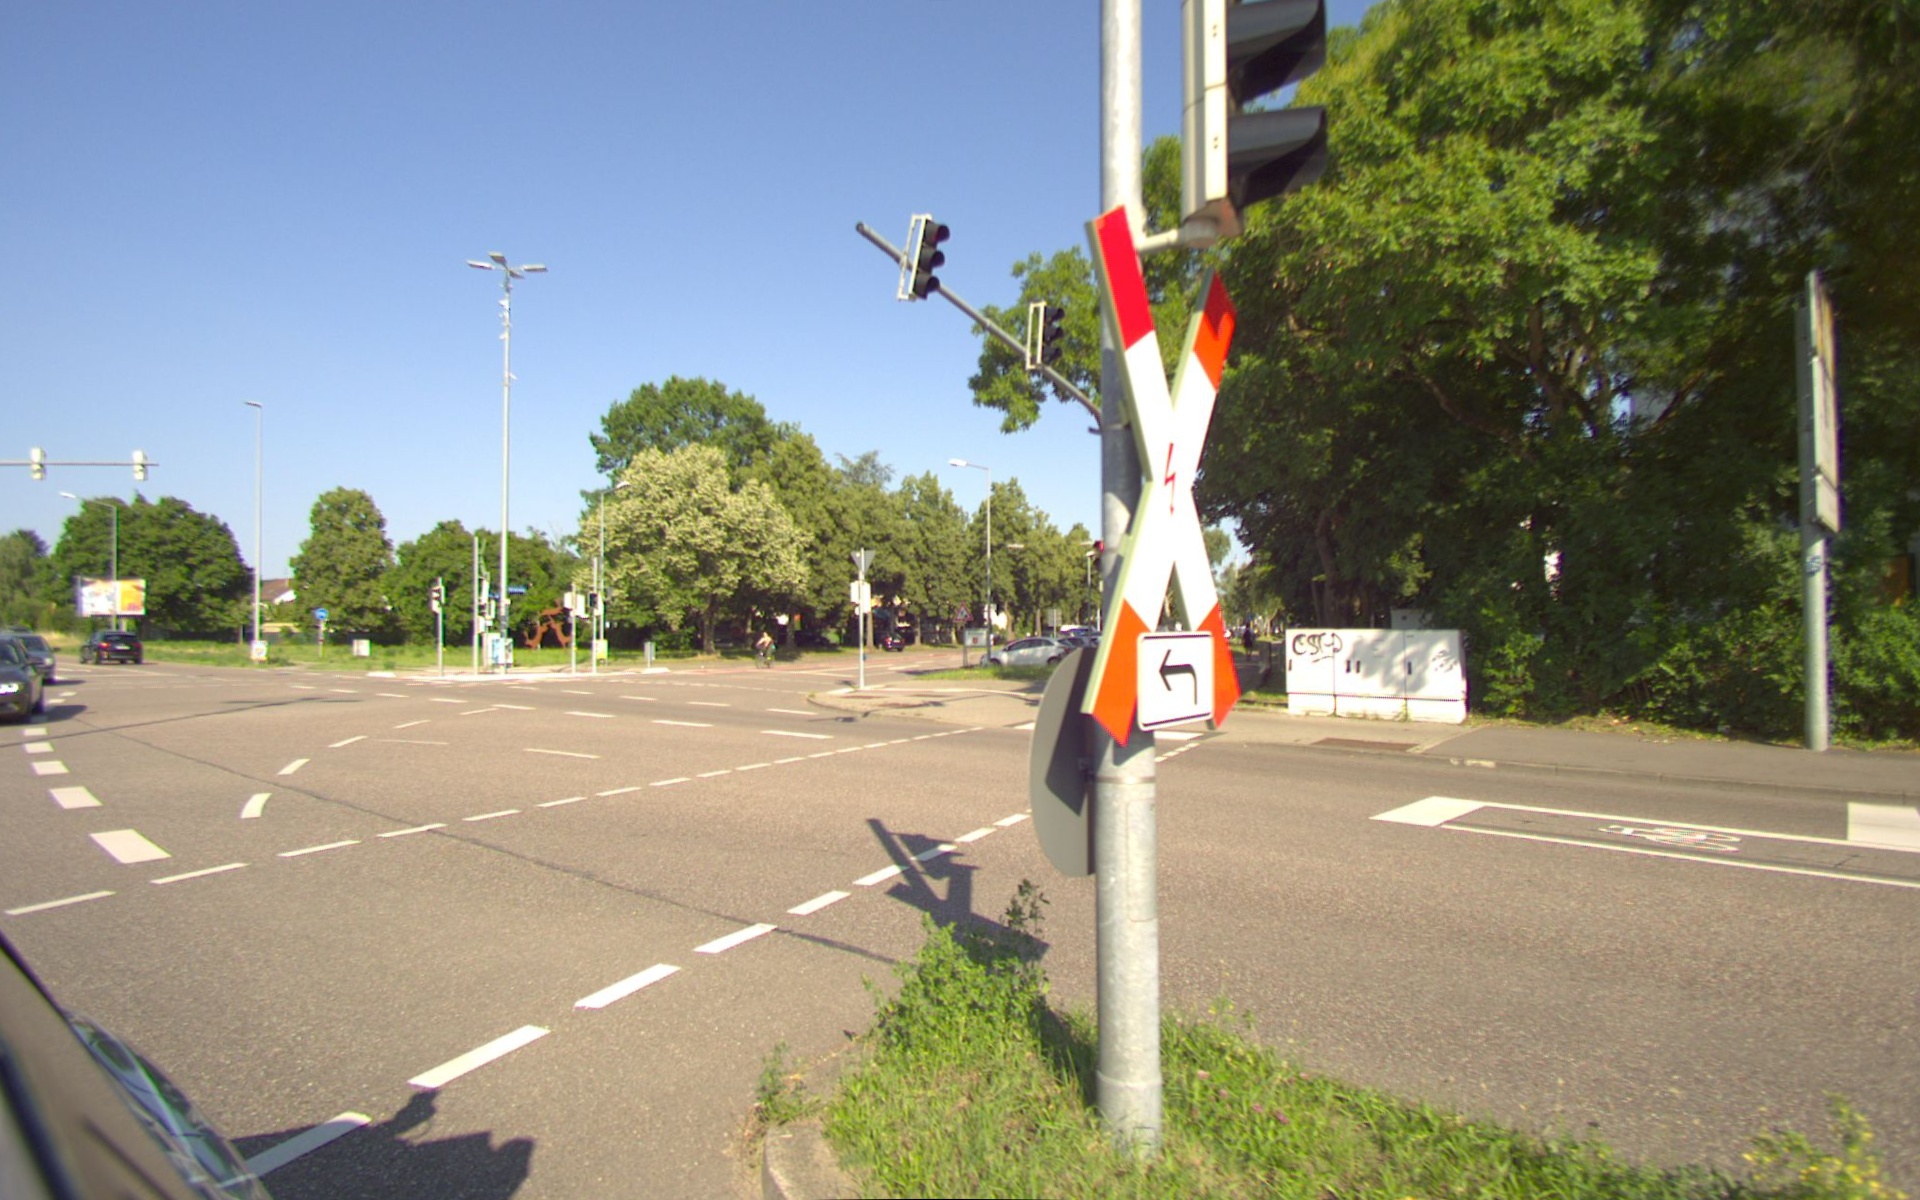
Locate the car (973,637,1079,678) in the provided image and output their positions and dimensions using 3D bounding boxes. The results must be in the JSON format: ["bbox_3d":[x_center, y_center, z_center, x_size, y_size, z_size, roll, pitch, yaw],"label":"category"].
[{"bbox_3d":[2.755,2.393,42.073,3.974,1.450,1.771,-5,-4,23],"label":"car"}]

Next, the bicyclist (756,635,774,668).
[{"bbox_3d":[-9.294,2.451,48.225,0.612,1.535,0.624,-2,-2,14],"label":"bicyclist"}]

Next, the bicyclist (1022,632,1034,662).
[{"bbox_3d":[3.653,2.525,54.401,0.602,1.572,0.601,-1,-2,8],"label":"bicyclist"}]

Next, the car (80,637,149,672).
[{"bbox_3d":[-42.435,2.710,50.760,4.382,1.672,1.968,-2,-4,41],"label":"car"}]

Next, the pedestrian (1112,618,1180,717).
[{"bbox_3d":[3.454,1.232,18.798,0.806,1.765,0.932,1,-3,-45],"label":"pedestrian"}]

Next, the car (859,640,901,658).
[{"bbox_3d":[-6.304,3.795,79.114,1.499,1.330,4.785,1,-2,-28],"label":"car"}]

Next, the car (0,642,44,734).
[{"bbox_3d":[-16.788,1.434,17.109,1.794,1.435,4.468,1,-3,-41],"label":"car"}]

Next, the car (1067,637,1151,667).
[{"bbox_3d":[8.874,3.097,60.230,4.678,1.488,1.774,-5,-3,19],"label":"car"}]

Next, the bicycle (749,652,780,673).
[{"bbox_3d":[-9.288,2.972,48.180,0.649,0.910,1.798,-1,-2,18],"label":"bicycle"}]

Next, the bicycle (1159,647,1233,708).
[{"bbox_3d":[4.685,1.500,19.981,0.632,1.127,1.890,-2,-3,40],"label":"bicycle"}]

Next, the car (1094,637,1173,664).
[{"bbox_3d":[11.105,3.223,64.857,4.740,1.488,1.774,-4,-3,19],"label":"car"}]

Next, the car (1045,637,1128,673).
[{"bbox_3d":[6.511,2.809,52.083,3.972,1.824,1.772,-1,-2,22],"label":"car"}]

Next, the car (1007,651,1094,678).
[{"bbox_3d":[4.203,2.995,47.103,3.762,1.202,1.454,-1,-2,23],"label":"car"}]

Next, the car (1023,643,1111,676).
[{"bbox_3d":[5.250,2.896,49.618,3.972,1.533,1.772,-1,-2,22],"label":"car"}]

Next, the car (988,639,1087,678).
[{"bbox_3d":[3.469,2.609,45.238,3.976,1.426,1.771,-5,-4,24],"label":"car"}]

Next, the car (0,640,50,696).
[{"bbox_3d":[-27.606,1.893,28.863,4.606,1.501,1.798,-2,-3,40],"label":"car"}]

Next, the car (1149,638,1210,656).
[{"bbox_3d":[18.706,4.025,86.220,4.784,1.488,1.771,-1,-2,24],"label":"car"}]

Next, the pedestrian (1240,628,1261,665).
[{"bbox_3d":[13.712,2.188,47.783,0.615,1.726,0.706,1,-3,-38],"label":"pedestrian"}]

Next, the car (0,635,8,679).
[{"bbox_3d":[-39.306,2.273,40.084,4.606,1.663,1.798,-2,-2,40],"label":"car"}]
